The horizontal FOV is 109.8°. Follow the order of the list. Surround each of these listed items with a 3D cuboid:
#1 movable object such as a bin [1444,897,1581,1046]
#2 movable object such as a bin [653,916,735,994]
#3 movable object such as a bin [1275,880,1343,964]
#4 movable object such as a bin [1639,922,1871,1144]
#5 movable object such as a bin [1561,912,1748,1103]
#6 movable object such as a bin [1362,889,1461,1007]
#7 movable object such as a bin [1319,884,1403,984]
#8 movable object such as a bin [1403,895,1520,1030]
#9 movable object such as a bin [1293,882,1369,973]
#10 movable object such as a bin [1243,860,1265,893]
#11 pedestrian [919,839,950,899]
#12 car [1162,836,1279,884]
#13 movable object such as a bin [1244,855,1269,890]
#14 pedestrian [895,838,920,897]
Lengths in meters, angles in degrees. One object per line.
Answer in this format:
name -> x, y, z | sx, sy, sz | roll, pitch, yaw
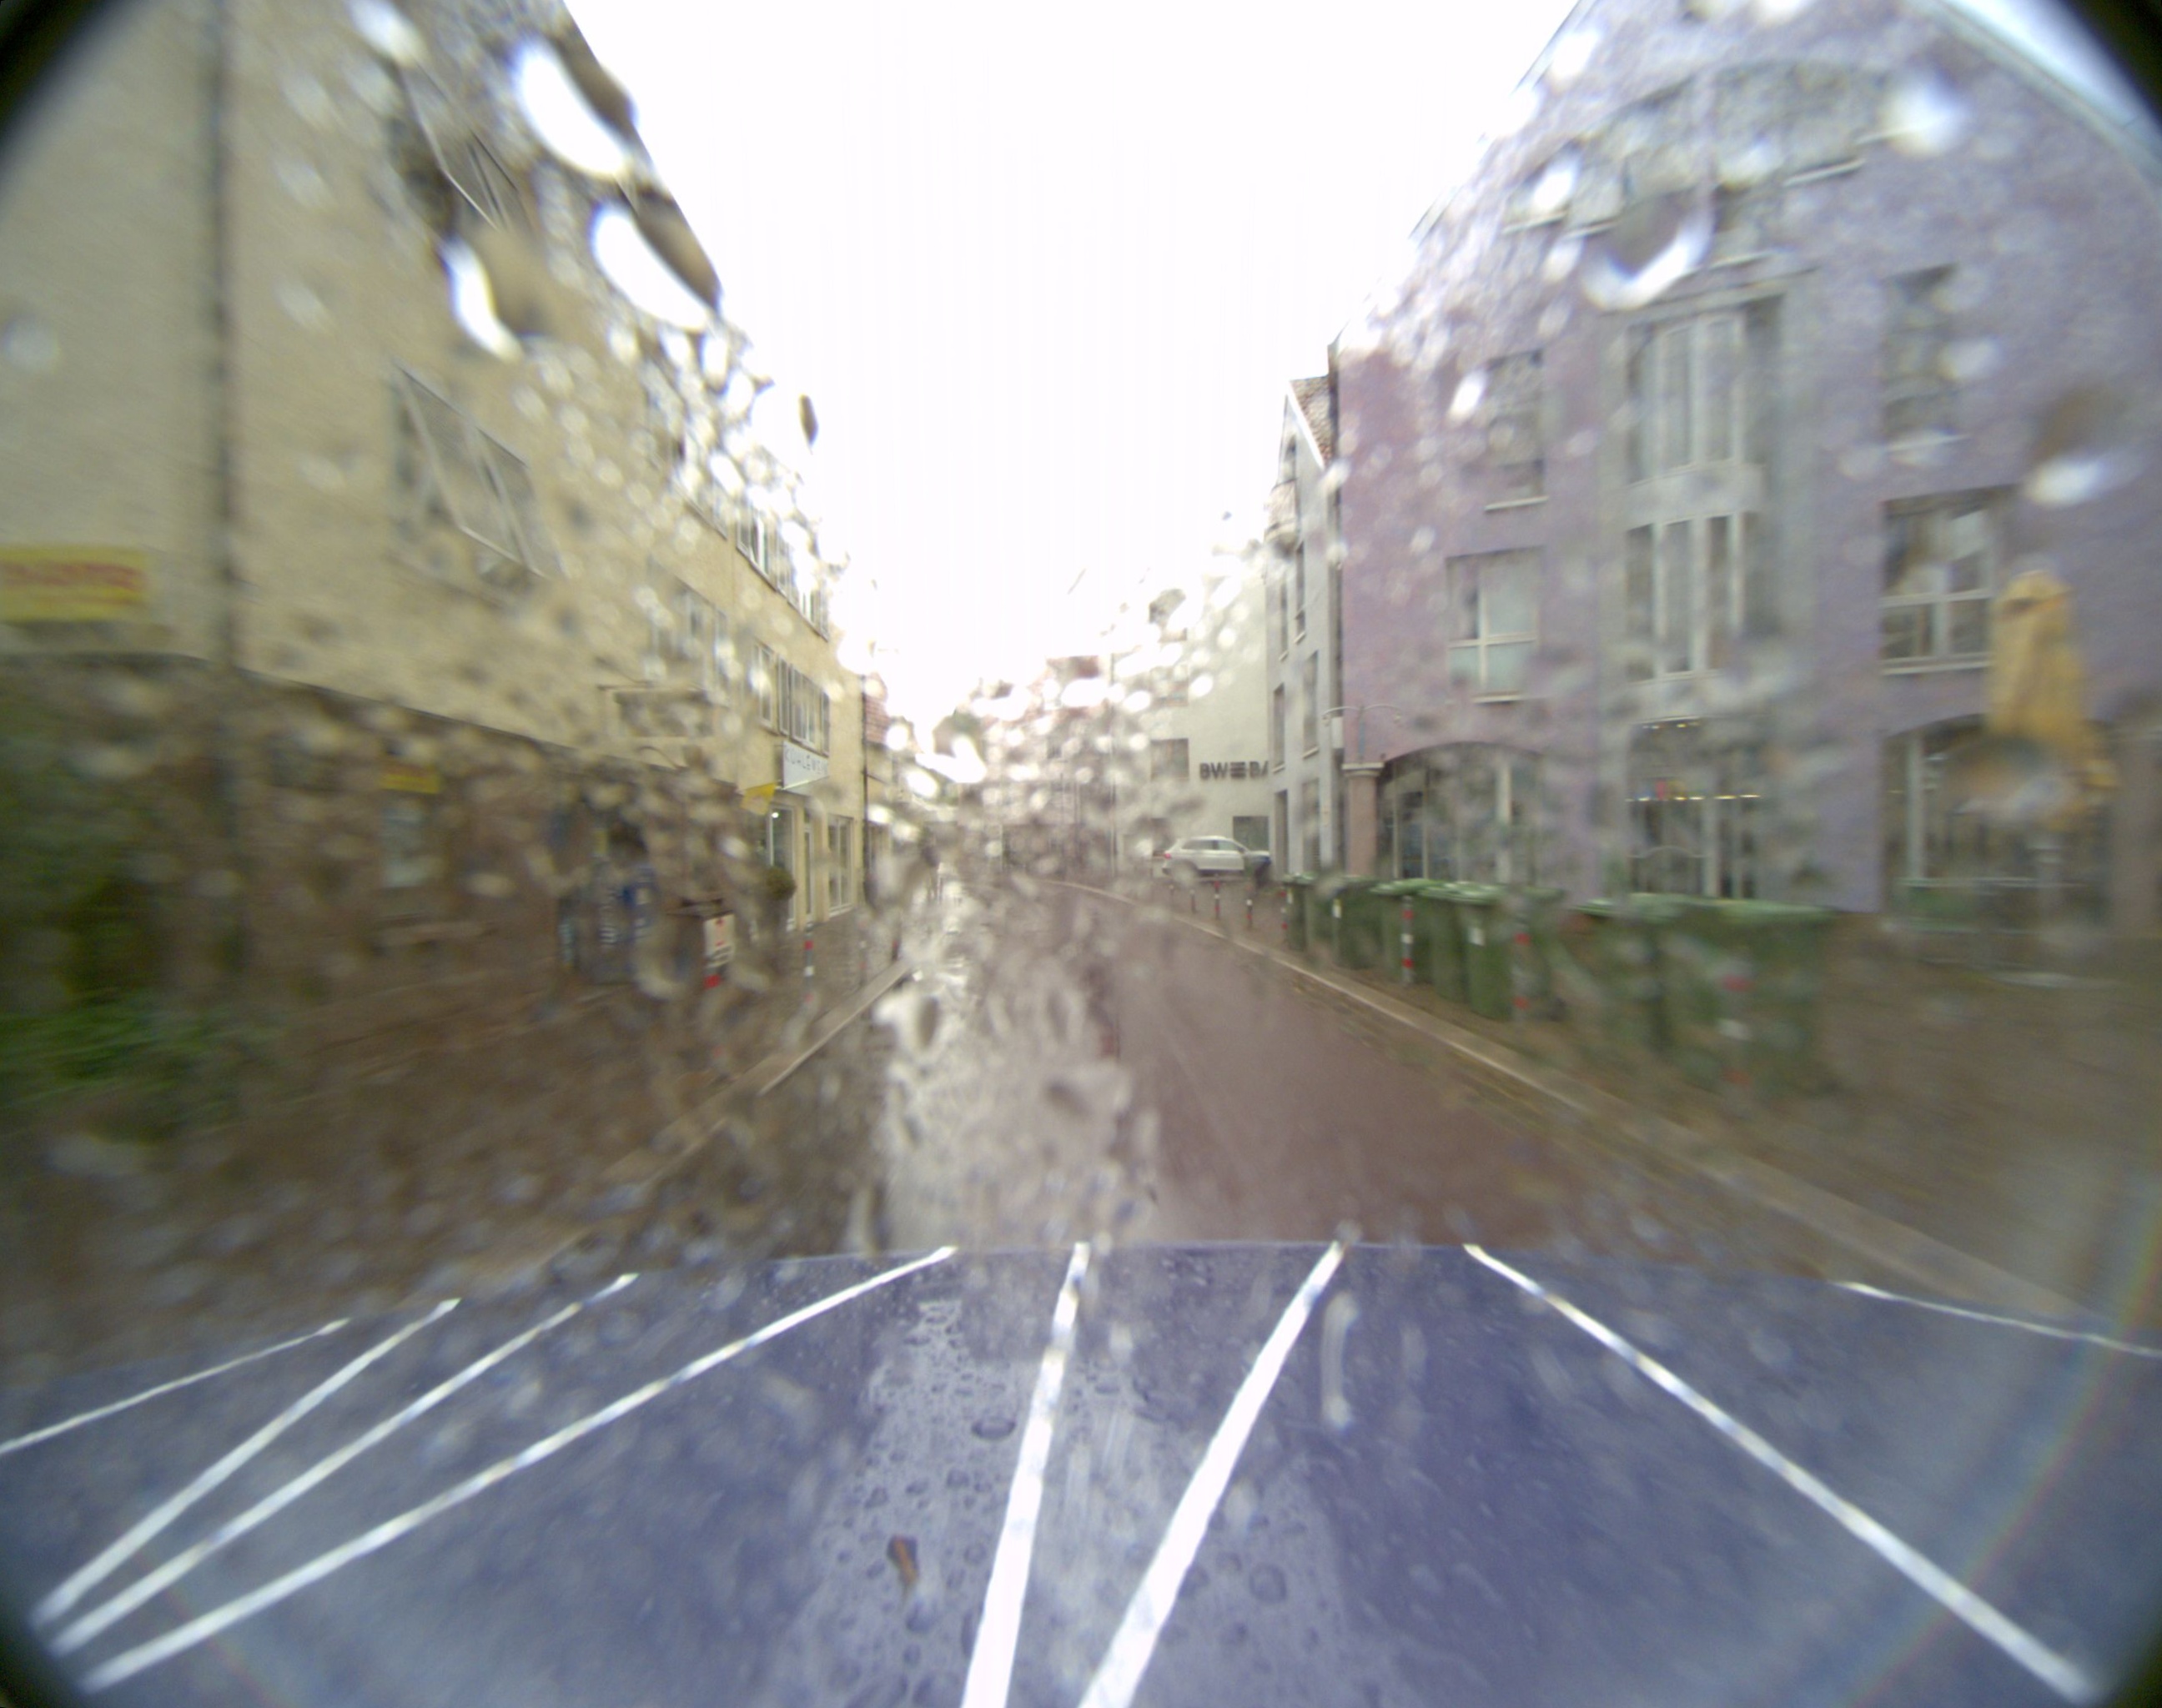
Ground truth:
movable object such as a bin -> 3.449, 0.910, 6.120 | 0.688, 1.067, 0.669 | -2, 1, -5
movable object such as a bin -> -4.757, 1.228, 9.386 | 0.547, 0.831, 0.909 | 1, 1, -1
movable object such as a bin -> 3.151, 0.923, 10.539 | 0.688, 1.072, 0.677 | -2, 1, -5
movable object such as a bin -> 3.676, 0.939, 4.199 | 0.688, 1.036, 0.669 | -2, 2, -5
movable object such as a bin -> 3.681, 0.952, 4.924 | 0.688, 1.070, 0.669 | -2, 1, -5
movable object such as a bin -> 3.358, 0.932, 7.763 | 0.688, 1.099, 0.669 | -2, 1, -5
movable object such as a bin -> 3.275, 0.921, 8.926 | 0.688, 1.075, 0.669 | -2, 1, -5
movable object such as a bin -> 3.434, 0.951, 6.898 | 0.688, 1.099, 0.669 | -2, 1, -5
movable object such as a bin -> 3.213, 0.929, 9.810 | 0.688, 1.081, 0.712 | -2, 1, -5
movable object such as a bin -> 4.926, 0.628, 21.653 | 0.461, 0.891, 0.449 | -2, 3, -7
pedestrian -> -4.749, 0.467, 24.631 | 0.775, 1.894, 0.803 | 1, 2, -22
car -> 5.007, 0.198, 27.326 | 3.992, 1.575, 1.834 | -1, 3, 11
movable object such as a bin -> 5.155, 0.539, 22.341 | 0.573, 0.983, 0.487 | -2, 3, -10
pedestrian -> -5.624, 0.433, 24.612 | 0.656, 1.892, 0.657 | 1, 2, -22
